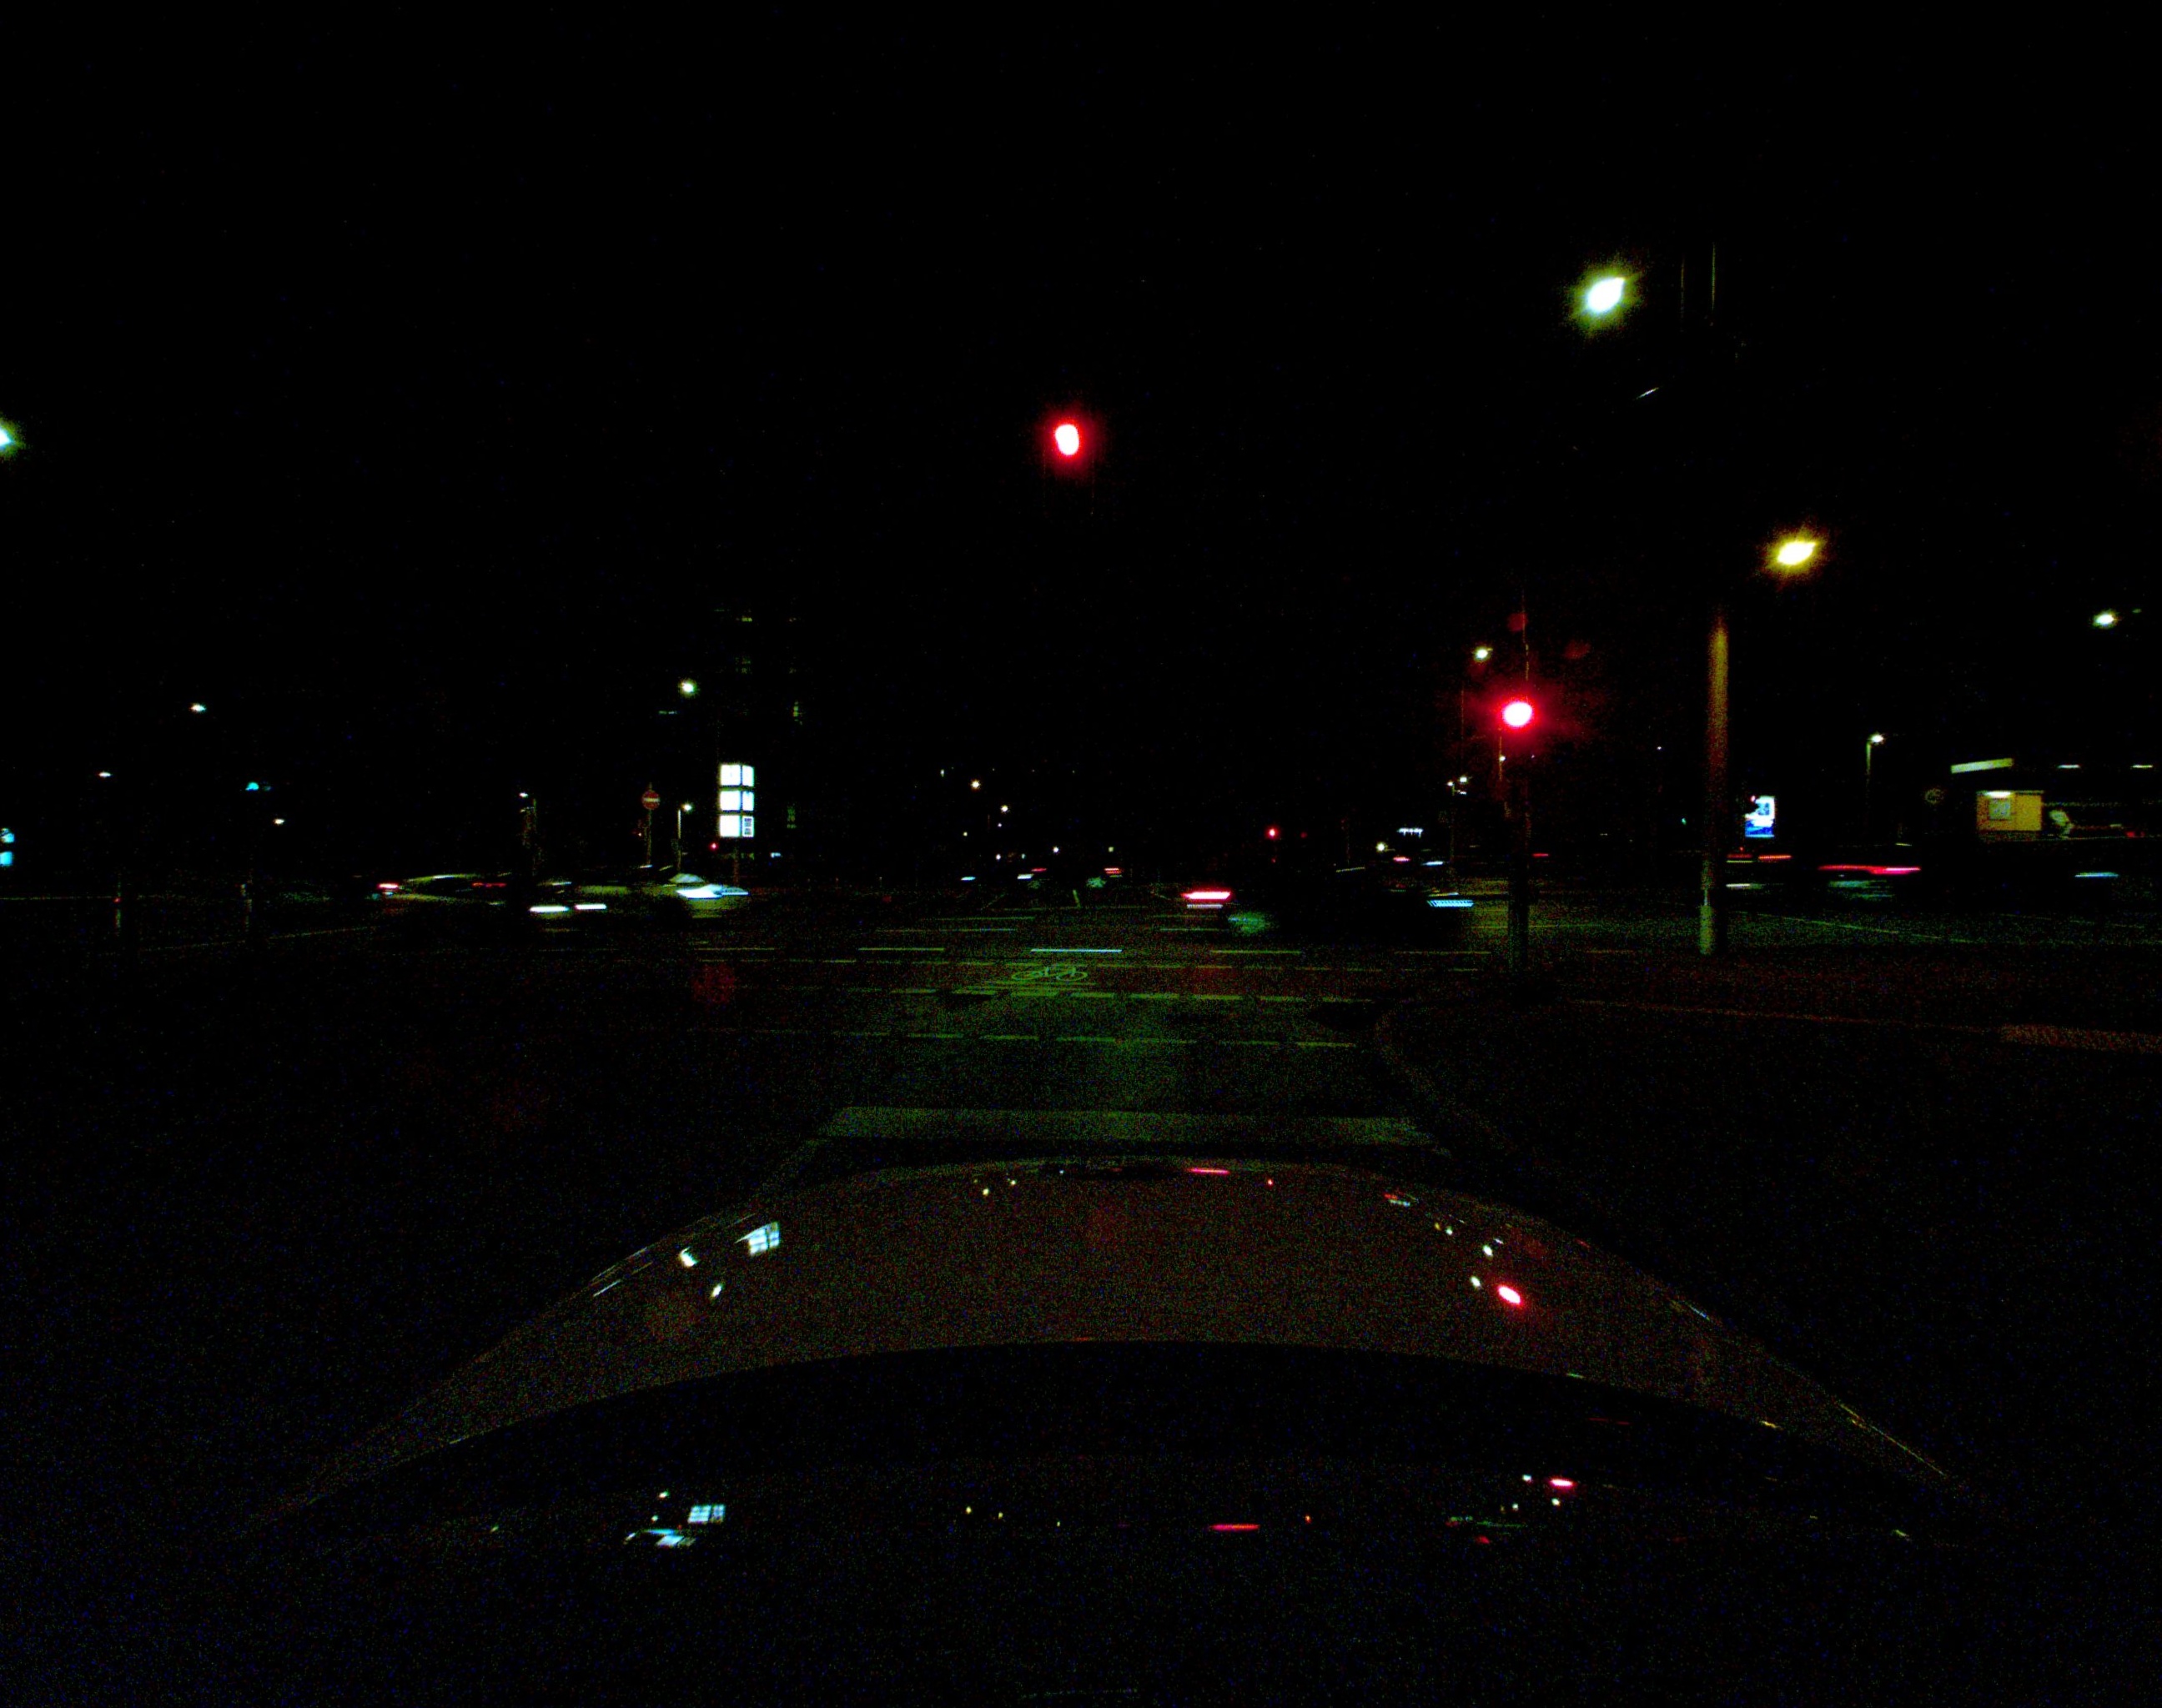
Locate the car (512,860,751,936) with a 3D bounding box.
[{"bbox_3d":[-10.912,1.044,19.947,4.897,1.598,1.747,-2,0,5],"label":"car"}]

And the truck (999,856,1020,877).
[{"bbox_3d":[-10.697,1.894,121.027,2.419,3.089,6.412,0,-1,-11],"label":"truck"}]

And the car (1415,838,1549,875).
[{"bbox_3d":[17.575,0.132,35.880,4.917,1.420,1.854,-2,-1,5],"label":"car"}]

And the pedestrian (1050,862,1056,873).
[{"bbox_3d":[-5.119,2.473,147.968,0.851,1.912,1.001,0,-1,-16],"label":"pedestrian"}]

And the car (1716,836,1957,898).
[{"bbox_3d":[18.919,0.298,20.589,4.224,1.420,1.750,-1,2,9],"label":"car"}]

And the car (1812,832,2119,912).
[{"bbox_3d":[18.968,0.353,17.644,4.549,1.419,1.748,-2,2,5],"label":"car"}]

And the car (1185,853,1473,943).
[{"bbox_3d":[4.473,0.788,15.293,4.897,1.473,1.747,-1,0,5],"label":"car"}]

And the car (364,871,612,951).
[{"bbox_3d":[-12.120,1.145,16.793,3.883,1.437,1.747,-1,0,5],"label":"car"}]

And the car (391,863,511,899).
[{"bbox_3d":[-31.510,1.352,40.804,4.551,1.585,1.848,-1,1,3],"label":"car"}]

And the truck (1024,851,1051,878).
[{"bbox_3d":[-7.993,1.930,149.252,3.366,4.843,7.865,0,-1,-14],"label":"truck"}]

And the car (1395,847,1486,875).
[{"bbox_3d":[18.491,0.354,42.011,4.004,1.285,1.541,-2,-1,5],"label":"car"}]

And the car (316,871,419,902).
[{"bbox_3d":[-38.957,1.788,44.507,4.212,1.585,1.806,-1,-1,6],"label":"car"}]

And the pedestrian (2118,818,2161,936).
[{"bbox_3d":[15.771,0.302,11.645,0.870,1.656,0.843,-7,-5,42],"label":"pedestrian"}]

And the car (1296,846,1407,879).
[{"bbox_3d":[13.048,0.413,39.490,4.795,1.420,1.854,-2,-1,5],"label":"car"}]

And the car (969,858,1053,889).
[{"bbox_3d":[-3.479,0.956,40.709,3.852,1.405,1.771,-2,-1,5],"label":"car"}]

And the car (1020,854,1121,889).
[{"bbox_3d":[-0.438,0.814,37.627,4.406,1.420,1.854,-2,-1,5],"label":"car"}]

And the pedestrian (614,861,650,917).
[{"bbox_3d":[-14.116,1.077,25.608,0.671,1.722,0.710,-1,-2,27],"label":"pedestrian"}]
